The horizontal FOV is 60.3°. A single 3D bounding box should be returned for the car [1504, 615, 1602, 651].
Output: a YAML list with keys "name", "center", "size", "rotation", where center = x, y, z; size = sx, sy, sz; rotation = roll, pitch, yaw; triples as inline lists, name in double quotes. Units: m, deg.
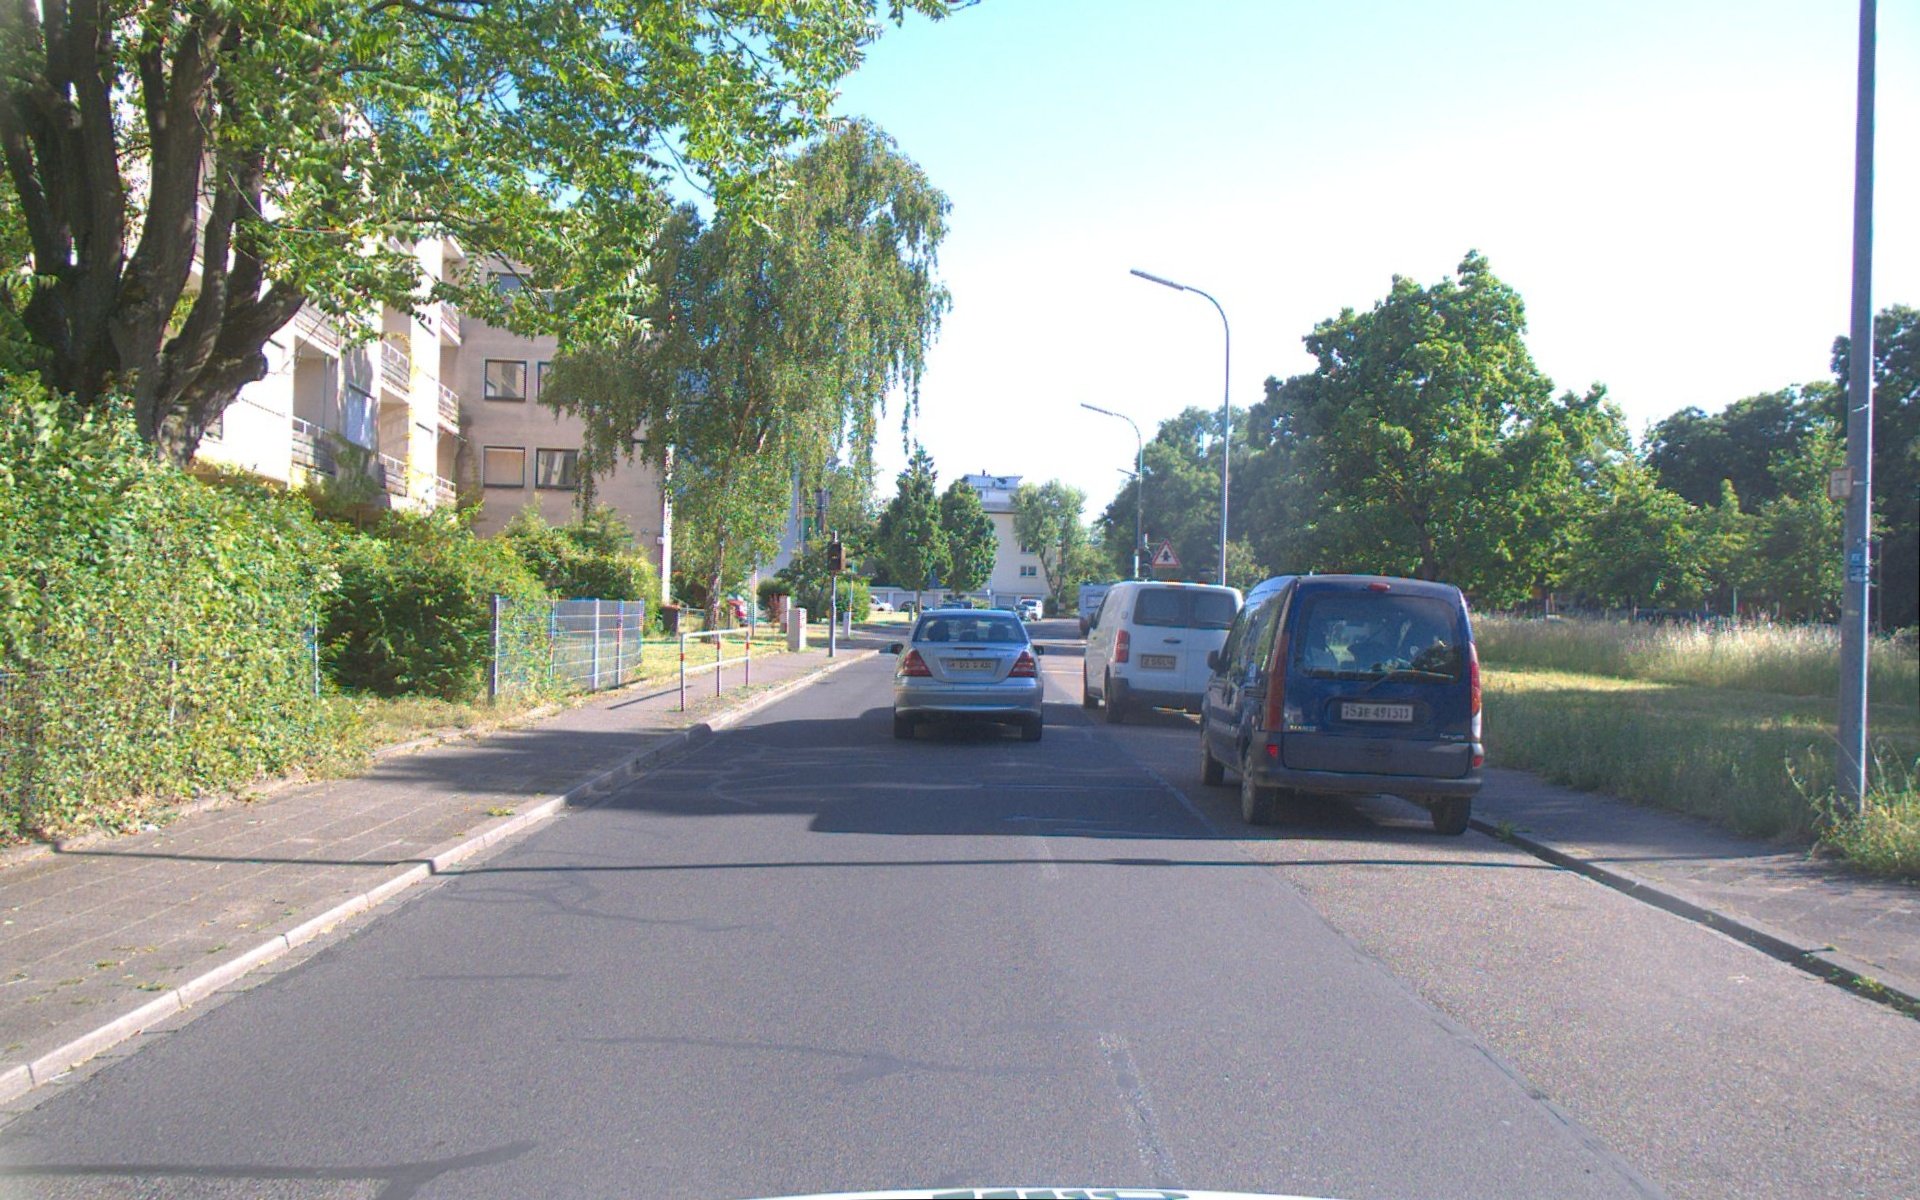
- name: "car"
  center: [26.340, 1.441, 73.575]
  size: [3.783, 1.421, 1.789]
  rotation: [1, 1, 6]

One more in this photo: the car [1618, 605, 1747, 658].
- name: "car"
  center: [29.351, 1.259, 67.308]
  size: [4.408, 2.047, 2.276]
  rotation: [1, 0, 11]

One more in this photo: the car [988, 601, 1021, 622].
- name: "car"
  center: [3.601, 0.912, 133.442]
  size: [1.992, 1.518, 5.260]
  rotation: [4, 0, 8]

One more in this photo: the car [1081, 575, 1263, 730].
- name: "car"
  center: [2.899, 0.680, 23.650]
  size: [1.876, 1.904, 4.865]
  rotation: [3, 0, 0]

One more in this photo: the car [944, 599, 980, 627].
- name: "car"
  center: [0.149, 0.808, 104.829]
  size: [1.874, 1.631, 4.814]
  rotation: [4, 0, 4]

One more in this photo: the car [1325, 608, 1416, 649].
- name: "car"
  center: [17.191, 1.184, 69.401]
  size: [3.606, 1.605, 1.830]
  rotation: [1, 0, 11]

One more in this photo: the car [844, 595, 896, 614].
- name: "car"
  center: [-9.649, 0.505, 177.397]
  size: [4.997, 1.985, 2.238]
  rotation: [1, 0, 16]

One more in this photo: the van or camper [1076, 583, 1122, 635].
- name: "van or camper"
  center: [7.480, 0.481, 88.941]
  size: [2.302, 2.642, 6.429]
  rotation: [-2, 0, 5]

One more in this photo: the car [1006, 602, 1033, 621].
- name: "car"
  center: [5.303, 1.039, 146.163]
  size: [1.794, 1.544, 4.225]
  rotation: [3, 0, 9]

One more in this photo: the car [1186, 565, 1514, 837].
- name: "car"
  center: [2.903, 0.680, 13.170]
  size: [1.663, 1.760, 4.084]
  rotation: [2, 0, 1]

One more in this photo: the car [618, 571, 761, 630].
- name: "car"
  center: [-11.754, 0.010, 72.087]
  size: [5.781, 2.471, 2.214]
  rotation: [1, 1, 2]

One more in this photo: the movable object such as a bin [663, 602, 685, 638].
- name: "movable object such as a bin"
  center: [-8.540, 0.597, 49.439]
  size: [0.554, 1.072, 0.554]
  rotation: [1, -1, -20]

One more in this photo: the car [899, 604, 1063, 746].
- name: "car"
  center: [0.183, 0.789, 19.058]
  size: [1.698, 1.459, 3.437]
  rotation: [1, 0, -2]

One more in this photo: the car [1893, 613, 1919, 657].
- name: "car"
  center: [42.469, 1.499, 70.440]
  size: [4.359, 1.839, 2.002]
  rotation: [1, 0, 11]

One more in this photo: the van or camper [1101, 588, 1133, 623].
- name: "van or camper"
  center: [13.189, 0.461, 138.765]
  size: [2.443, 2.895, 6.856]
  rotation: [1, 0, 7]

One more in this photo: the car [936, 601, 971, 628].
- name: "car"
  center: [-0.373, 0.839, 98.534]
  size: [1.612, 1.492, 4.333]
  rotation: [2, 0, 6]

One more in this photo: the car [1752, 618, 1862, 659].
- name: "car"
  center: [36.872, 1.645, 72.059]
  size: [3.784, 1.639, 2.001]
  rotation: [1, 0, 5]
